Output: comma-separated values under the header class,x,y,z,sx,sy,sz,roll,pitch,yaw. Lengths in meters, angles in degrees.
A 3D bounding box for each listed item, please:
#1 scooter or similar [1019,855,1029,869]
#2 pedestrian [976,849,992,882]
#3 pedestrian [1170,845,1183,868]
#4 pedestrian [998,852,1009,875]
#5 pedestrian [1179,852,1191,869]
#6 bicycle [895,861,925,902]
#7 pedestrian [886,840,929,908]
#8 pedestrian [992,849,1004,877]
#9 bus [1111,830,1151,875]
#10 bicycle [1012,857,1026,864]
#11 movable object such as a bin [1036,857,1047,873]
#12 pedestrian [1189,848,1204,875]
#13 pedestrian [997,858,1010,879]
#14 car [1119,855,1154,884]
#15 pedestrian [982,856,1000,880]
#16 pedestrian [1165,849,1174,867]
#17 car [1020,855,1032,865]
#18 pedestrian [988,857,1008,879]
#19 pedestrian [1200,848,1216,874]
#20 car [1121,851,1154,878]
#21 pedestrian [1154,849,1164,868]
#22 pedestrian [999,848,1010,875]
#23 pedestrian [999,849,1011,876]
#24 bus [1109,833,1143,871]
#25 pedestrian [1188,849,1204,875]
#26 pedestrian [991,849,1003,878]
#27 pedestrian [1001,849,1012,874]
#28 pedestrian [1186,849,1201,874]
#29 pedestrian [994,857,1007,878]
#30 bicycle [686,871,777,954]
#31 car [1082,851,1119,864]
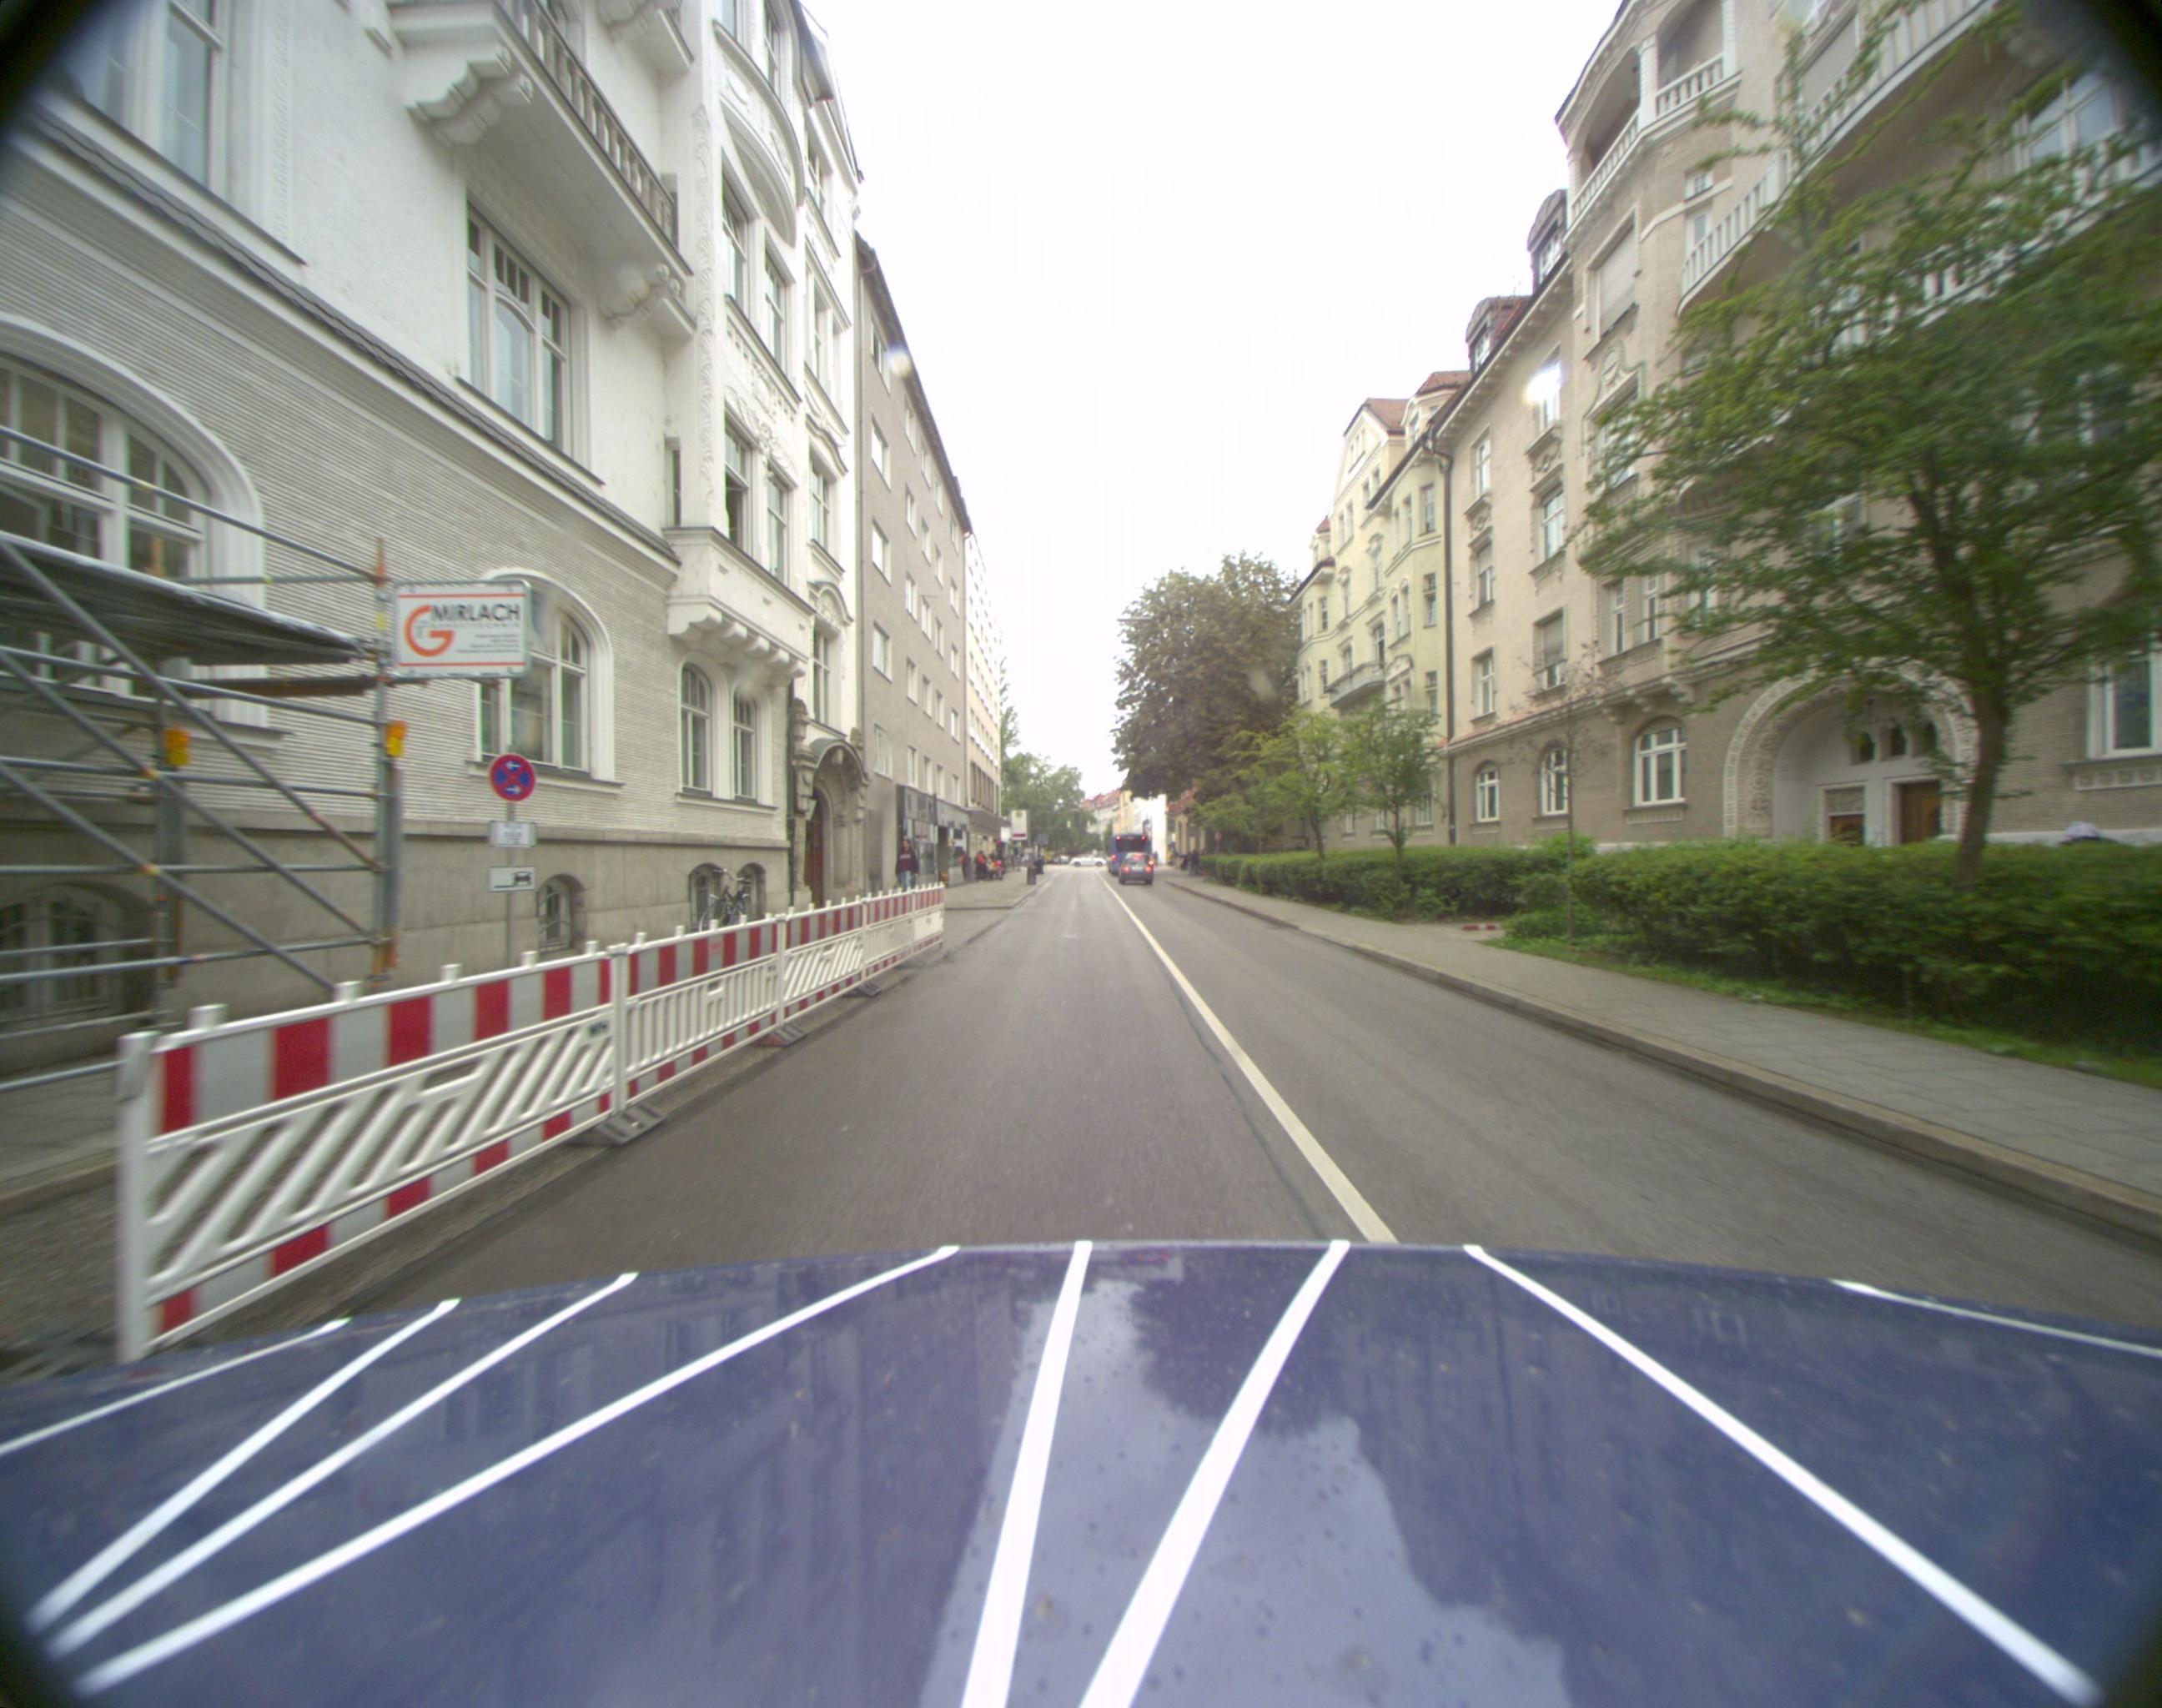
class,x,y,z,sx,sy,sz,roll,pitch,yaw
scooter or similar,-5.116,0.699,68.594,0.563,1.234,1.445,0,1,11
pedestrian,-5.028,0.584,39.541,0.704,1.723,0.746,0,1,1
pedestrian,8.562,0.217,67.989,0.832,2.002,0.778,-1,1,-42
pedestrian,-5.208,0.625,51.205,0.659,1.584,0.696,0,1,1
pedestrian,8.278,0.531,60.244,0.830,1.333,0.754,0,1,-2
bicycle,-5.565,0.866,24.803,0.513,1.253,1.820,3,0,0
pedestrian,-5.058,0.577,22.184,0.929,1.899,1.179,2,1,0
pedestrian,-5.200,0.571,47.428,0.659,1.723,0.778,0,1,1
bus,3.590,-0.104,56.726,2.586,3.083,8.923,0,0,1
bicycle,-9.345,0.996,114.276,2.124,1.110,0.738,0,1,-10
movable object such as a bin,-3.057,0.830,58.585,0.877,1.243,0.798,0,1,-5
pedestrian,7.703,0.498,50.679,0.875,1.735,0.786,0,1,0
pedestrian,-4.575,0.825,44.956,0.709,1.230,0.585,0,1,1
car,2.911,0.784,40.261,1.588,1.470,3.782,0,0,0
pedestrian,-4.994,0.769,42.222,0.862,1.344,0.862,0,1,1
pedestrian,9.578,0.441,82.176,0.952,2.002,1.397,0,1,11
car,-9.257,0.990,128.349,1.719,1.543,3.999,0,0,-1
pedestrian,-4.778,0.807,43.917,1.099,1.230,0.668,0,1,1
pedestrian,8.622,0.446,51.693,0.784,1.735,0.877,0,1,32
car,3.462,0.628,47.328,1.772,1.635,4.273,0,0,0
pedestrian,8.449,0.475,81.957,0.952,2.002,1.397,0,1,11
pedestrian,-5.274,0.505,52.421,0.659,1.812,0.696,0,1,1
pedestrian,-4.935,0.569,49.337,0.659,1.723,0.696,0,1,1
bus,3.782,-0.195,65.694,2.586,3.083,9.108,0,0,1
pedestrian,7.530,0.522,49.821,0.910,1.735,0.847,0,1,0
pedestrian,-5.084,0.565,46.032,0.659,1.723,0.684,0,1,1
pedestrian,-5.229,0.525,53.189,0.659,1.773,0.771,0,1,1
pedestrian,7.636,0.499,51.569,0.875,1.735,0.910,0,1,0
pedestrian,-4.824,0.811,45.462,0.681,1.230,0.495,0,1,1
bicycle,-5.820,0.937,12.768,0.662,1.199,1.921,3,0,-3
car,2.271,0.417,89.544,4.276,1.510,1.999,-1,1,-3
